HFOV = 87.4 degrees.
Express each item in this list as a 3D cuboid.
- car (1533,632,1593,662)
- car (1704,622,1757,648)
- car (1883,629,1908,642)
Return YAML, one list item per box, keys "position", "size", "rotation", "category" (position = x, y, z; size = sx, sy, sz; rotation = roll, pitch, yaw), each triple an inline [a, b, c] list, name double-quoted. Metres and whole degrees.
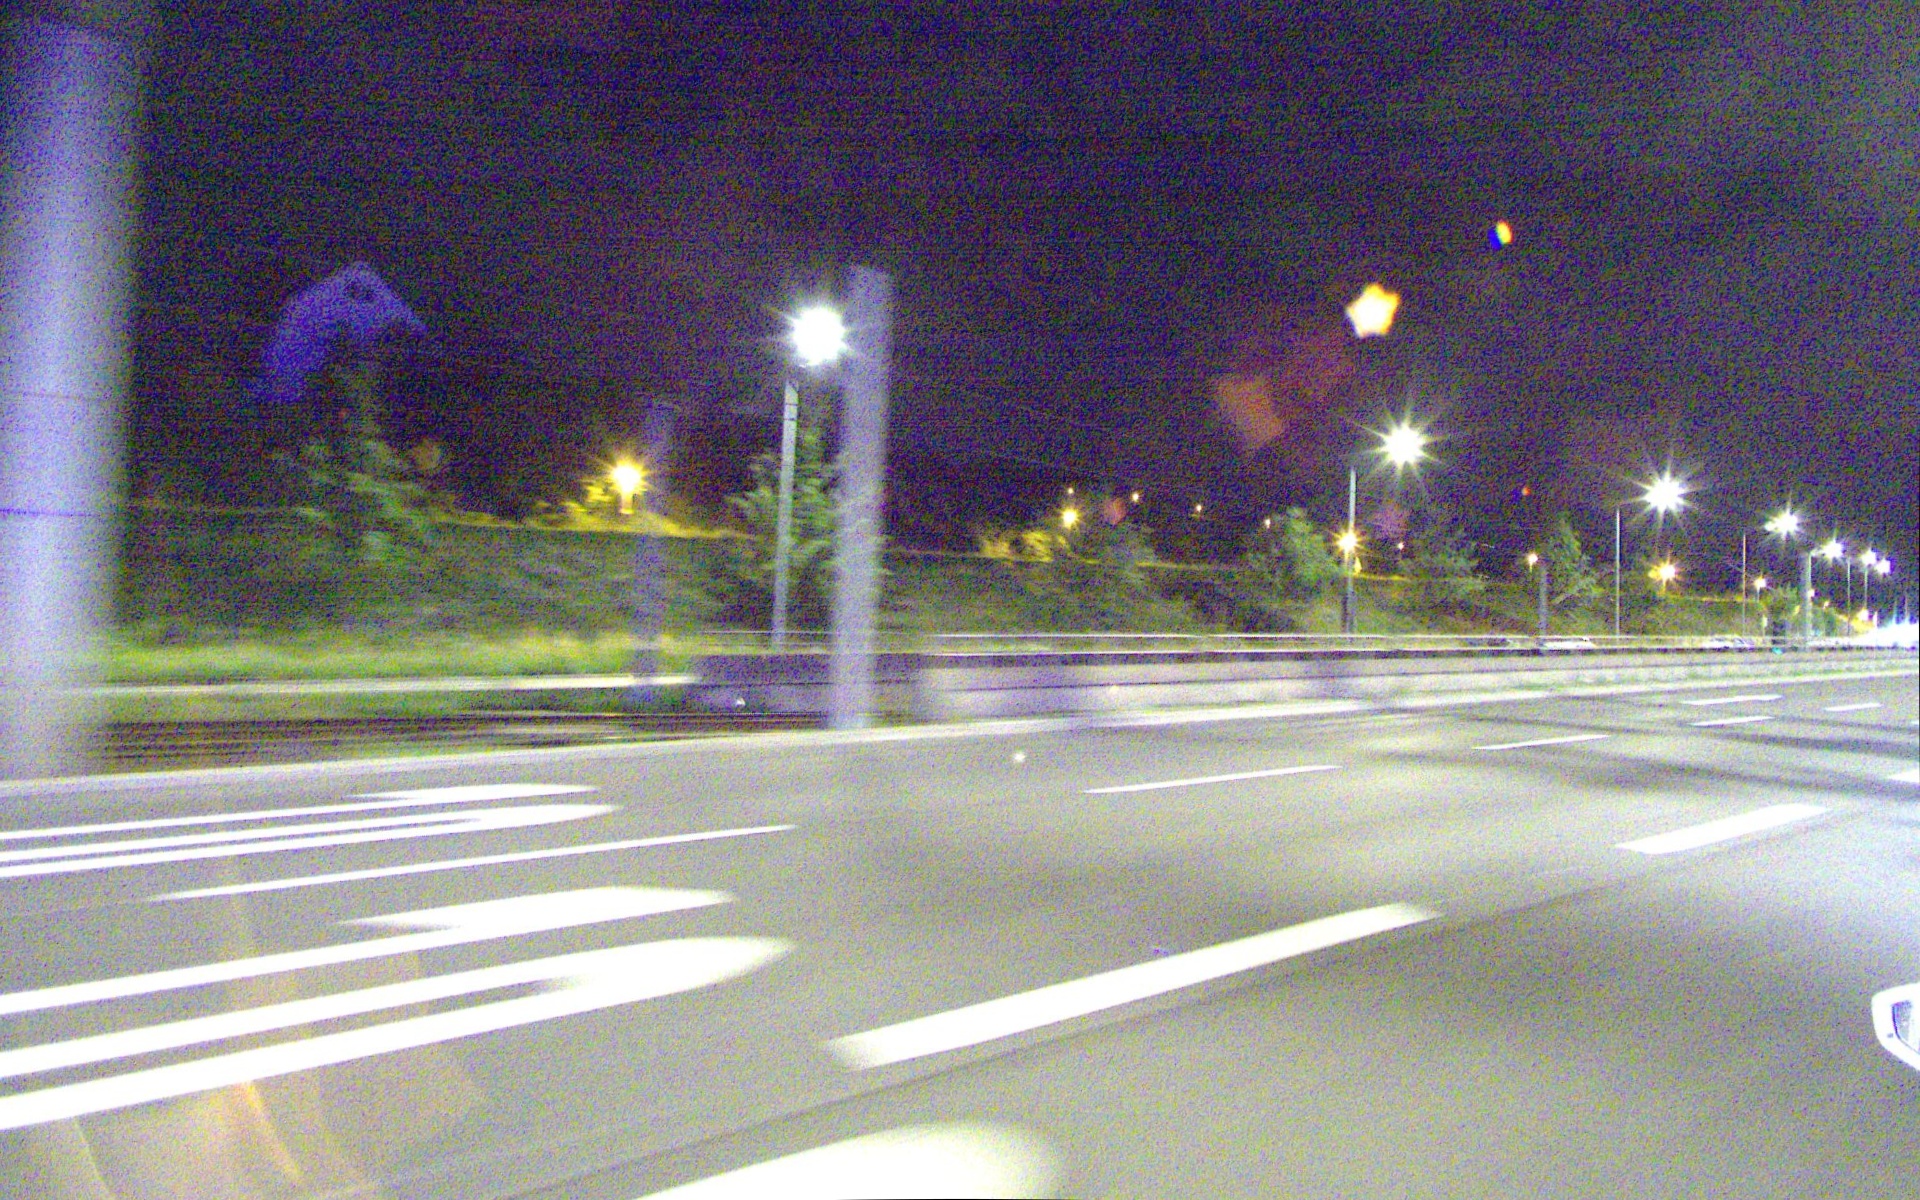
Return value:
- position: [38.212, 2.988, 63.659]
  size: [3.962, 1.707, 1.819]
  rotation: [4, -1, -36]
  category: "car"
- position: [53.381, 2.431, 69.554]
  size: [3.960, 1.717, 1.789]
  rotation: [2, 0, -35]
  category: "car"
- position: [124.458, 4.742, 133.632]
  size: [3.641, 1.500, 1.615]
  rotation: [3, -1, -34]
  category: "car"
